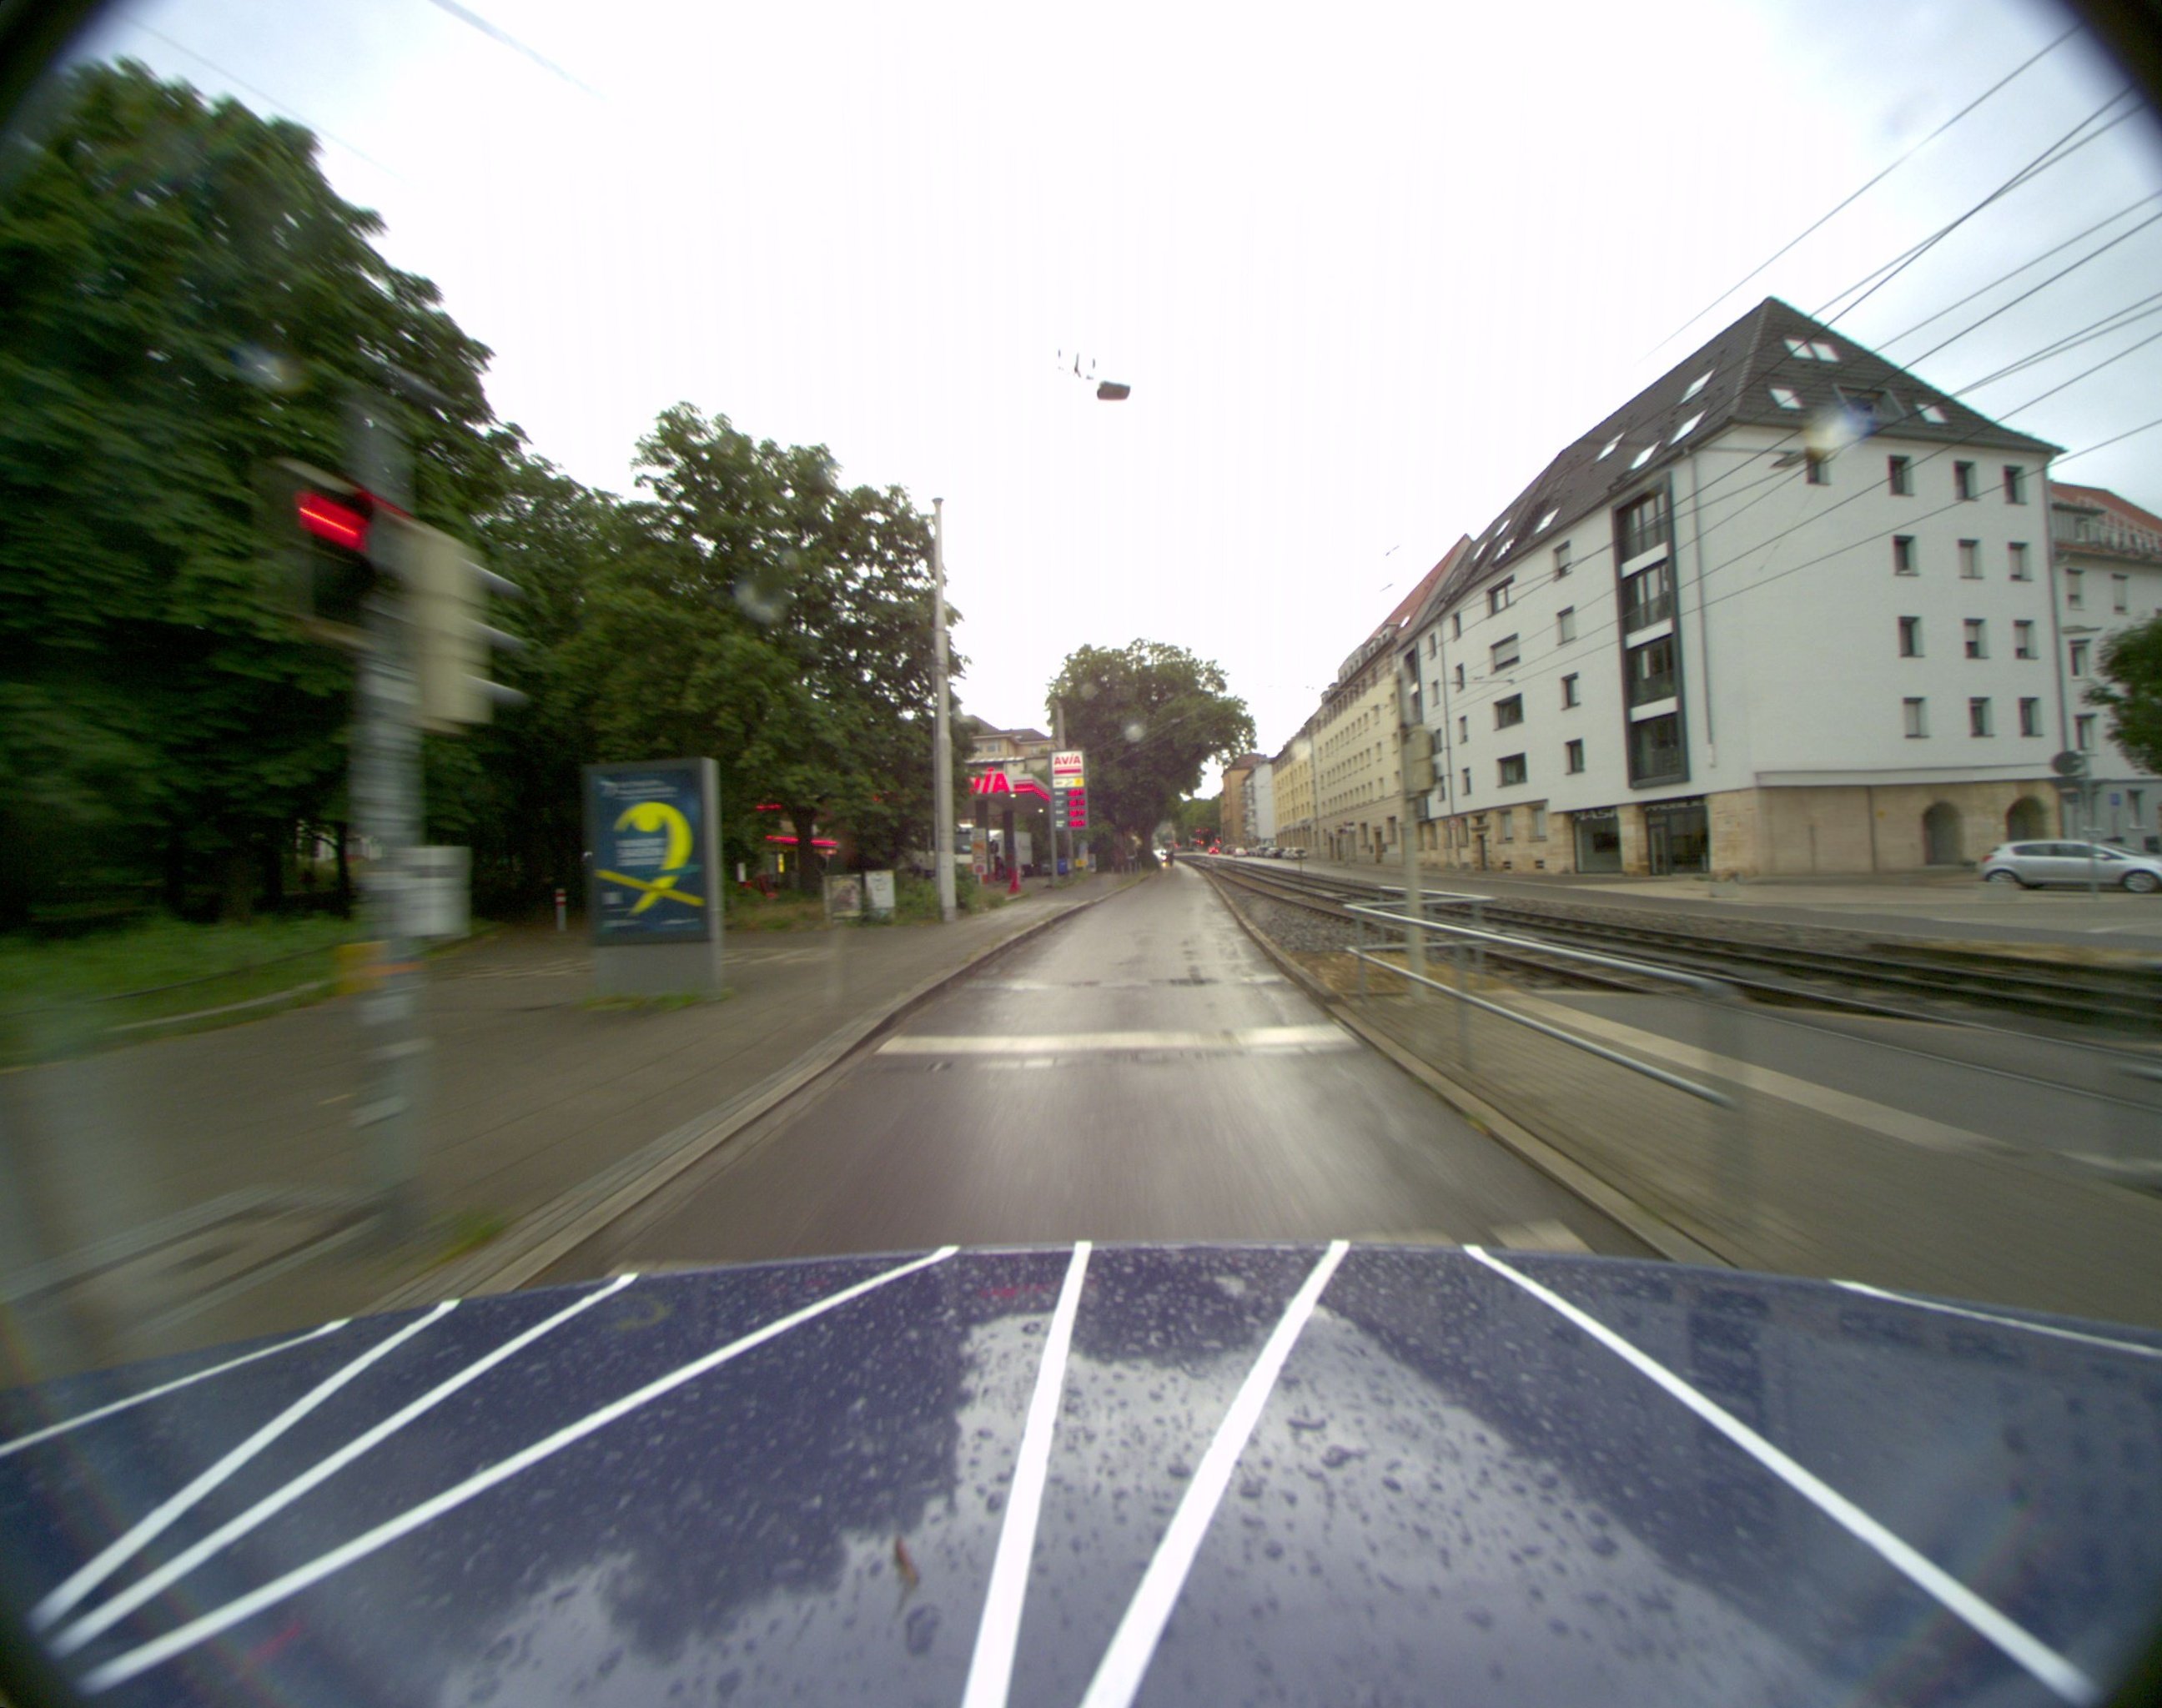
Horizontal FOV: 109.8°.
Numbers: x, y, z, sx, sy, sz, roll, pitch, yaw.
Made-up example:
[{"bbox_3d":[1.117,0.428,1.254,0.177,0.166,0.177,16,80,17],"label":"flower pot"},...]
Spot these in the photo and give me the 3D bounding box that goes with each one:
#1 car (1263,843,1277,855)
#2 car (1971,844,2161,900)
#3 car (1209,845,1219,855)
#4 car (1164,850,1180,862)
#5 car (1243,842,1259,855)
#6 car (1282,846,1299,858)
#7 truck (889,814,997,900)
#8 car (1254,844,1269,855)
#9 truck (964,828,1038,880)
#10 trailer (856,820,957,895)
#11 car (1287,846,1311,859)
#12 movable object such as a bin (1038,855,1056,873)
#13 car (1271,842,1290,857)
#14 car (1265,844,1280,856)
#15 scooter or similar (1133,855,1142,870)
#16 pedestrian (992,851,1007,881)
[{"bbox_3d":[28.656,-0.768,115.206,1.556,1.872,4.042,-1,1,6],"label":"car"},{"bbox_3d":[28.354,0.442,21.432,1.602,1.412,3.910,-2,1,-17],"label":"car"},{"bbox_3d":[30.147,-0.903,171.949,1.948,2.002,4.001,-1,1,6],"label":"car"},{"bbox_3d":[12.822,0.279,106.922,1.888,1.482,3.851,-1,1,10],"label":"car"},{"bbox_3d":[28.426,-0.960,127.138,2.029,2.002,4.227,-1,1,3],"label":"car"},{"bbox_3d":[27.039,-0.258,98.133,1.326,1.476,3.191,-1,1,3],"label":"car"},{"bbox_3d":[-6.214,0.098,33.404,2.841,3.380,6.111,-1,1,-29],"label":"truck"},{"bbox_3d":[28.887,-0.720,121.726,1.726,1.798,3.592,-1,1,3],"label":"car"},{"bbox_3d":[-5.911,-0.076,58.057,2.658,3.549,10.262,-1,1,11],"label":"truck"},{"bbox_3d":[-9.300,0.109,39.453,2.817,3.376,9.814,-2,1,-26],"label":"trailer"},{"bbox_3d":[26.874,-0.174,93.719,2.029,1.533,4.000,-1,1,3],"label":"car"},{"bbox_3d":[-2.753,0.801,62.241,1.285,1.392,1.074,-1,1,9],"label":"movable object such as a bin"},{"bbox_3d":[27.552,-0.598,105.090,1.728,1.949,4.300,-1,1,5],"label":"car"},{"bbox_3d":[27.920,-0.570,110.758,1.376,1.743,3.406,-1,1,3],"label":"car"},{"bbox_3d":[4.978,0.737,67.385,0.400,1.186,1.364,-1,4,20],"label":"scooter or similar"},{"bbox_3d":[-5.593,0.788,52.175,0.809,2.028,0.651,-1,1,7],"label":"pedestrian"}]
